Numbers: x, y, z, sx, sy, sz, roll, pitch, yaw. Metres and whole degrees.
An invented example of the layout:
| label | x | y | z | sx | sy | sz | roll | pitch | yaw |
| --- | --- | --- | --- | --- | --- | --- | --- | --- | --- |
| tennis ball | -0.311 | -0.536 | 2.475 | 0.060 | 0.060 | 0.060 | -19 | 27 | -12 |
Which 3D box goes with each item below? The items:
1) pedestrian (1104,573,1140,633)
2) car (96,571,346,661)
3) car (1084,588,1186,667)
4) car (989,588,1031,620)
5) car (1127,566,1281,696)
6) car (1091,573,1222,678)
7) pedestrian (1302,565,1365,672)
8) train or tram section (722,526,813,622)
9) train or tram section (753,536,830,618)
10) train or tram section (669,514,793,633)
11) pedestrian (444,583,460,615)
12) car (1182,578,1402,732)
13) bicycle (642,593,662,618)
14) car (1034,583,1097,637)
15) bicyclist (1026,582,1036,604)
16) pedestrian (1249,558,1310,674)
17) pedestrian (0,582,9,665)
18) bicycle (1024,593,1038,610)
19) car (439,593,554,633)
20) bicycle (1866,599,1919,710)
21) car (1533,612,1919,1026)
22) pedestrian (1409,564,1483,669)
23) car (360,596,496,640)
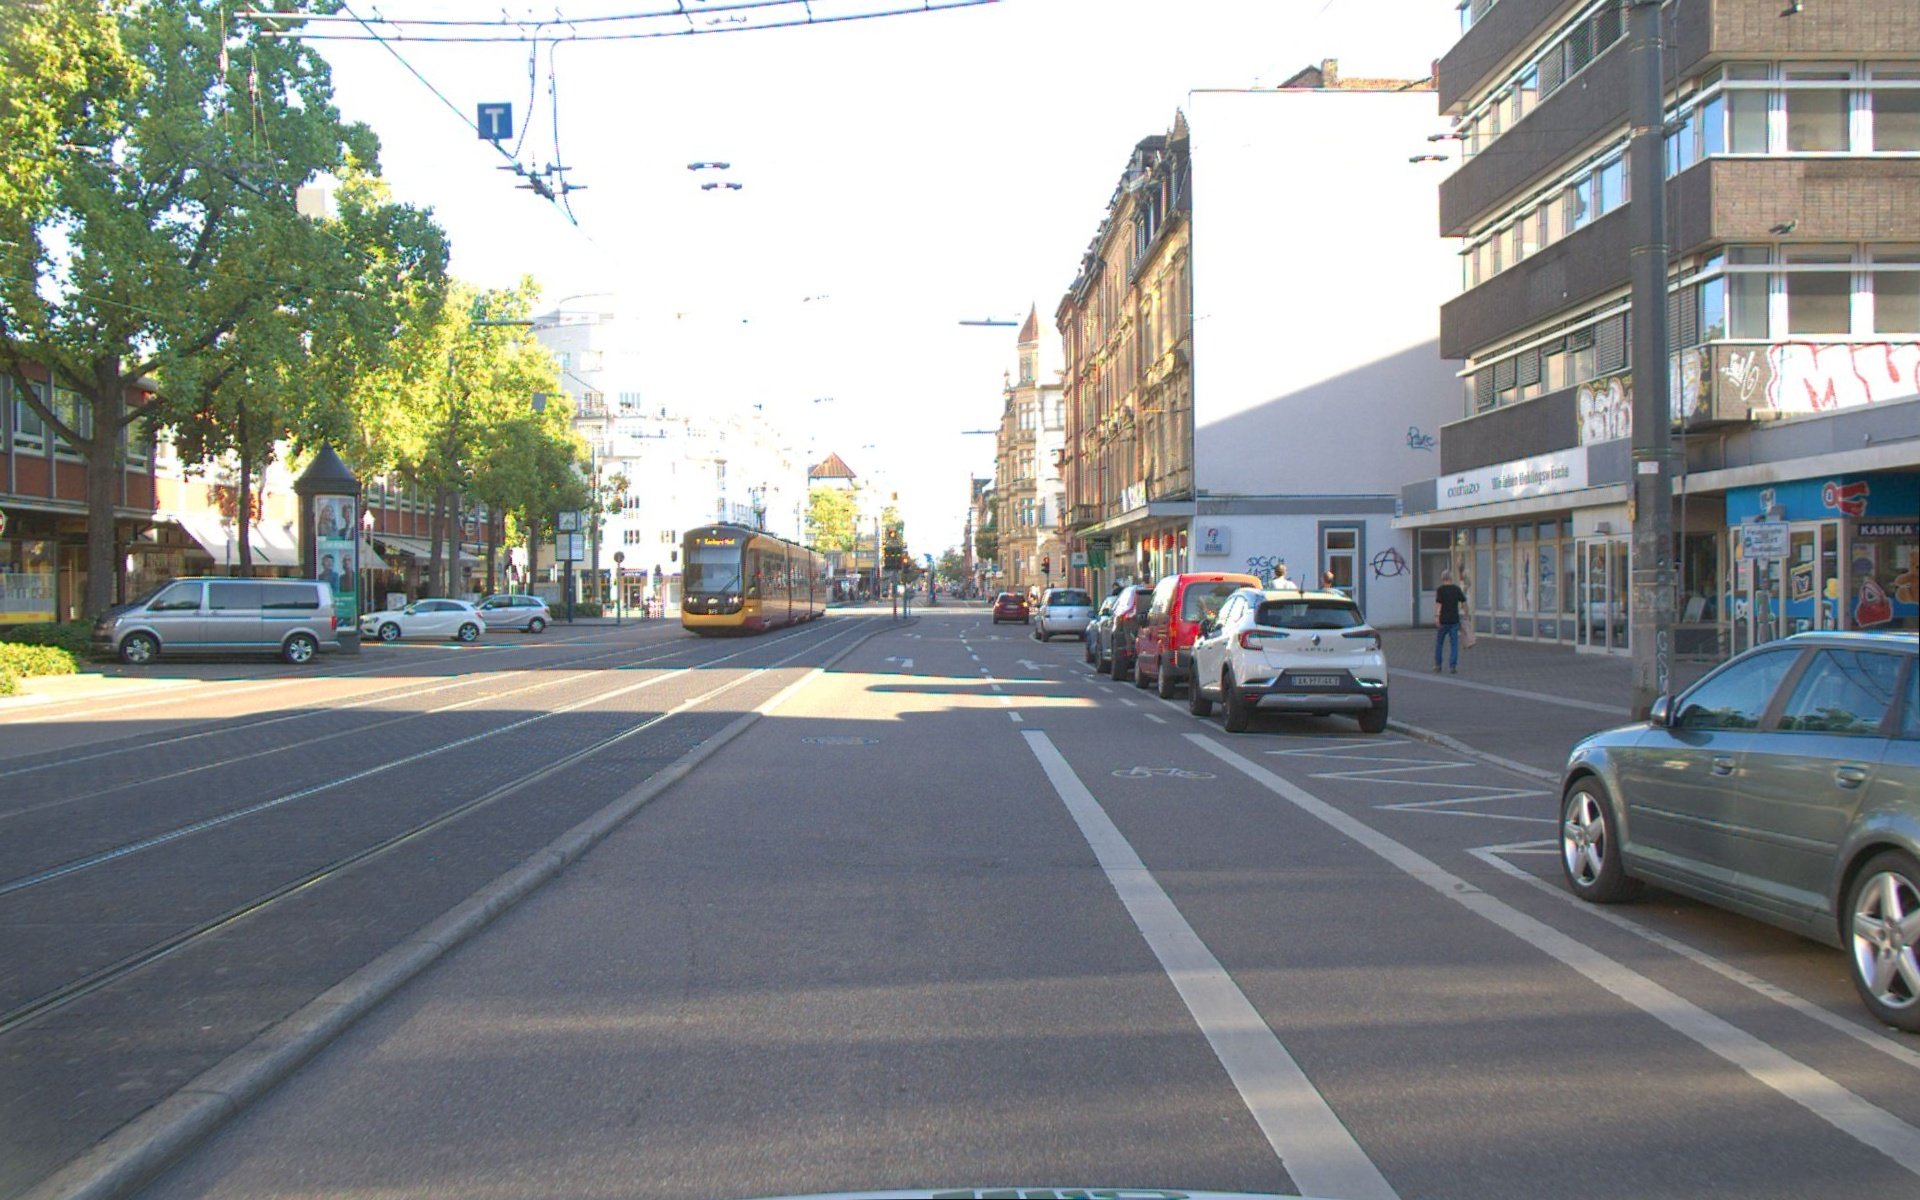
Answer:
| label | x | y | z | sx | sy | sz | roll | pitch | yaw |
| --- | --- | --- | --- | --- | --- | --- | --- | --- | --- |
| pedestrian | 5.063 | 0.099 | 51.772 | 0.927 | 1.824 | 1.054 | -2 | 0 | -2 |
| car | -17.047 | 0.395 | 38.249 | 5.057 | 1.963 | 1.833 | 1 | -1 | -33 |
| car | 3.700 | 0.551 | 35.487 | 1.605 | 1.518 | 3.794 | 2 | 1 | -2 |
| car | 2.356 | 0.168 | 78.770 | 1.719 | 1.492 | 3.943 | 1 | 0 | -2 |
| car | 3.690 | 0.421 | 25.657 | 1.641 | 1.839 | 4.247 | 0 | 0 | -2 |
| car | 3.537 | 0.417 | 30.457 | 1.783 | 1.788 | 4.474 | 0 | 0 | -1 |
| pedestrian | 6.380 | 0.304 | 28.319 | 0.794 | 1.787 | 1.033 | -1 | 0 | -1 |
| train or tram section | -7.855 | -1.003 | 68.895 | 2.621 | 3.613 | 11.124 | -1 | 0 | -1 |
| train or tram section | -8.085 | -1.059 | 80.857 | 2.621 | 3.613 | 12.839 | -1 | 0 | -1 |
| train or tram section | -7.654 | -0.827 | 57.079 | 2.702 | 3.613 | 12.465 | -1 | 0 | -1 |
| pedestrian | -27.554 | -0.056 | 89.697 | 0.633 | 1.752 | 0.600 | 1 | 1 | 18 |
| car | 3.815 | 0.572 | 19.724 | 1.750 | 1.624 | 4.326 | 0 | 0 | 0 |
| bicycle | -17.290 | 0.316 | 92.900 | 0.657 | 1.350 | 1.907 | 2 | 1 | 2 |
| car | 3.315 | 0.289 | 52.417 | 1.604 | 1.643 | 3.943 | 0 | 0 | -2 |
| bicyclist | 4.562 | -0.449 | 105.642 | 0.412 | 1.434 | 0.659 | -1 | 0 | 22 |
| pedestrian | 5.439 | 0.264 | 28.174 | 0.777 | 1.932 | 1.033 | -1 | 0 | -1 |
| pedestrian | -22.449 | 0.542 | 37.780 | 0.880 | 1.910 | 0.918 | -1 | 0 | 27 |
| bicycle | 4.533 | 0.091 | 105.538 | 0.412 | 1.115 | 1.413 | -1 | 0 | 22 |
| car | -19.022 | 0.538 | 67.923 | 4.225 | 1.593 | 1.807 | 0 | 0 | -32 |
| bicycle | 10.399 | 0.537 | 17.075 | 1.843 | 1.115 | 0.469 | -1 | 0 | -3 |
| car | 4.109 | 0.785 | 7.204 | 1.640 | 1.429 | 4.165 | 1 | 0 | -2 |
| pedestrian | 8.406 | 0.275 | 28.630 | 0.882 | 1.743 | 1.033 | -3 | 0 | -1 |
| car | -18.460 | 0.638 | 57.388 | 4.213 | 1.454 | 1.748 | 1 | 0 | -32 |
